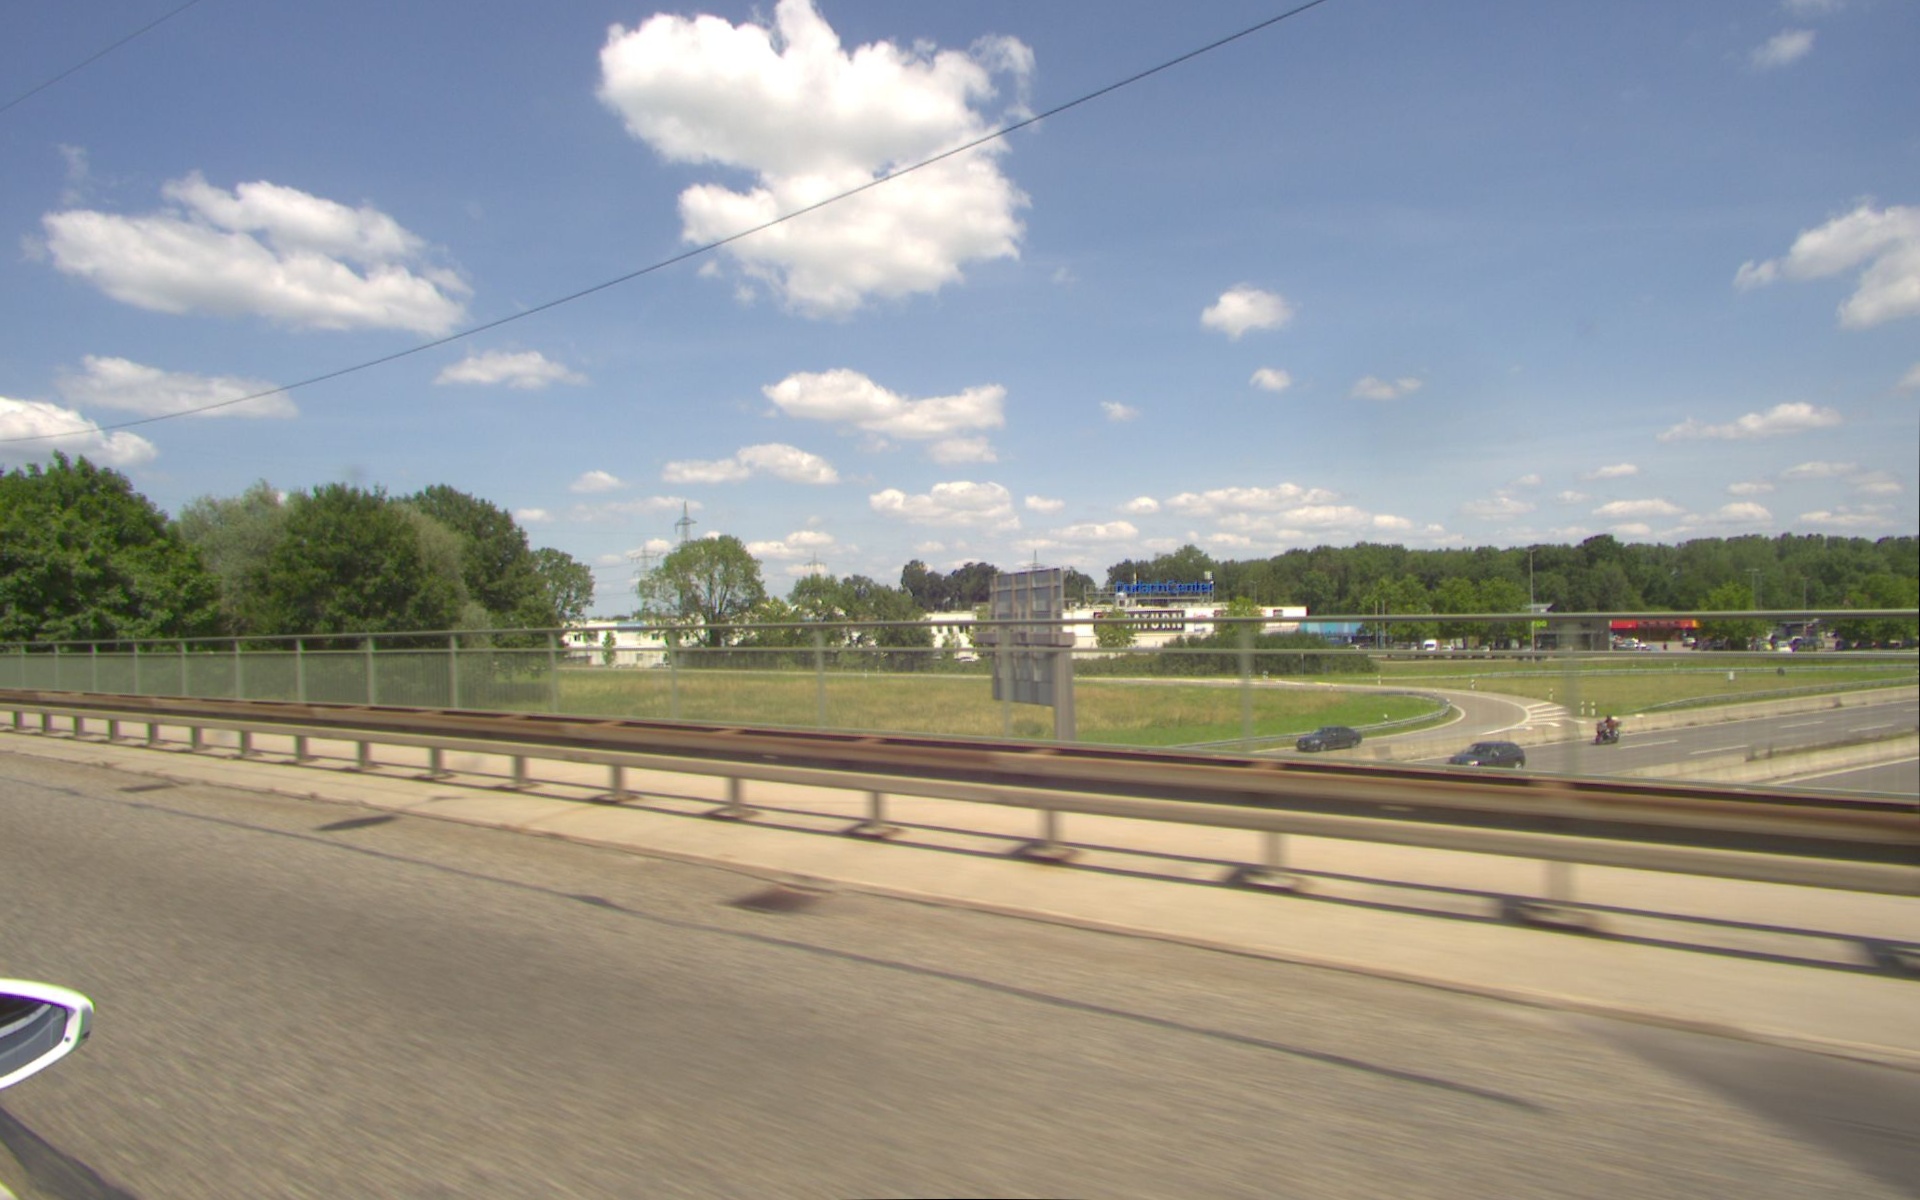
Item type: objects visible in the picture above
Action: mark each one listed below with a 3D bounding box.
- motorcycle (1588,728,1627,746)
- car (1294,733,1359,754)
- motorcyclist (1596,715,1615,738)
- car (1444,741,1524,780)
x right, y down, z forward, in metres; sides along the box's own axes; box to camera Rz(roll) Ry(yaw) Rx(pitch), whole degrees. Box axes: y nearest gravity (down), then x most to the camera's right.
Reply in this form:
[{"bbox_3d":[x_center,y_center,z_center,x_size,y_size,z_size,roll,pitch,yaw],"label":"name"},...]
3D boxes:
[{"bbox_3d":[39.022,8.229,60.316,2.437,1.001,0.855,5,-5,-26],"label":"motorcycle"},{"bbox_3d":[22.670,8.875,61.952,3.860,1.185,1.661,5,-6,-29],"label":"car"},{"bbox_3d":[38.890,7.633,60.339,0.898,1.360,0.601,4,-5,-26],"label":"motorcyclist"},{"bbox_3d":[25.901,7.916,49.479,3.928,1.437,1.456,-1,-3,-27],"label":"car"}]
